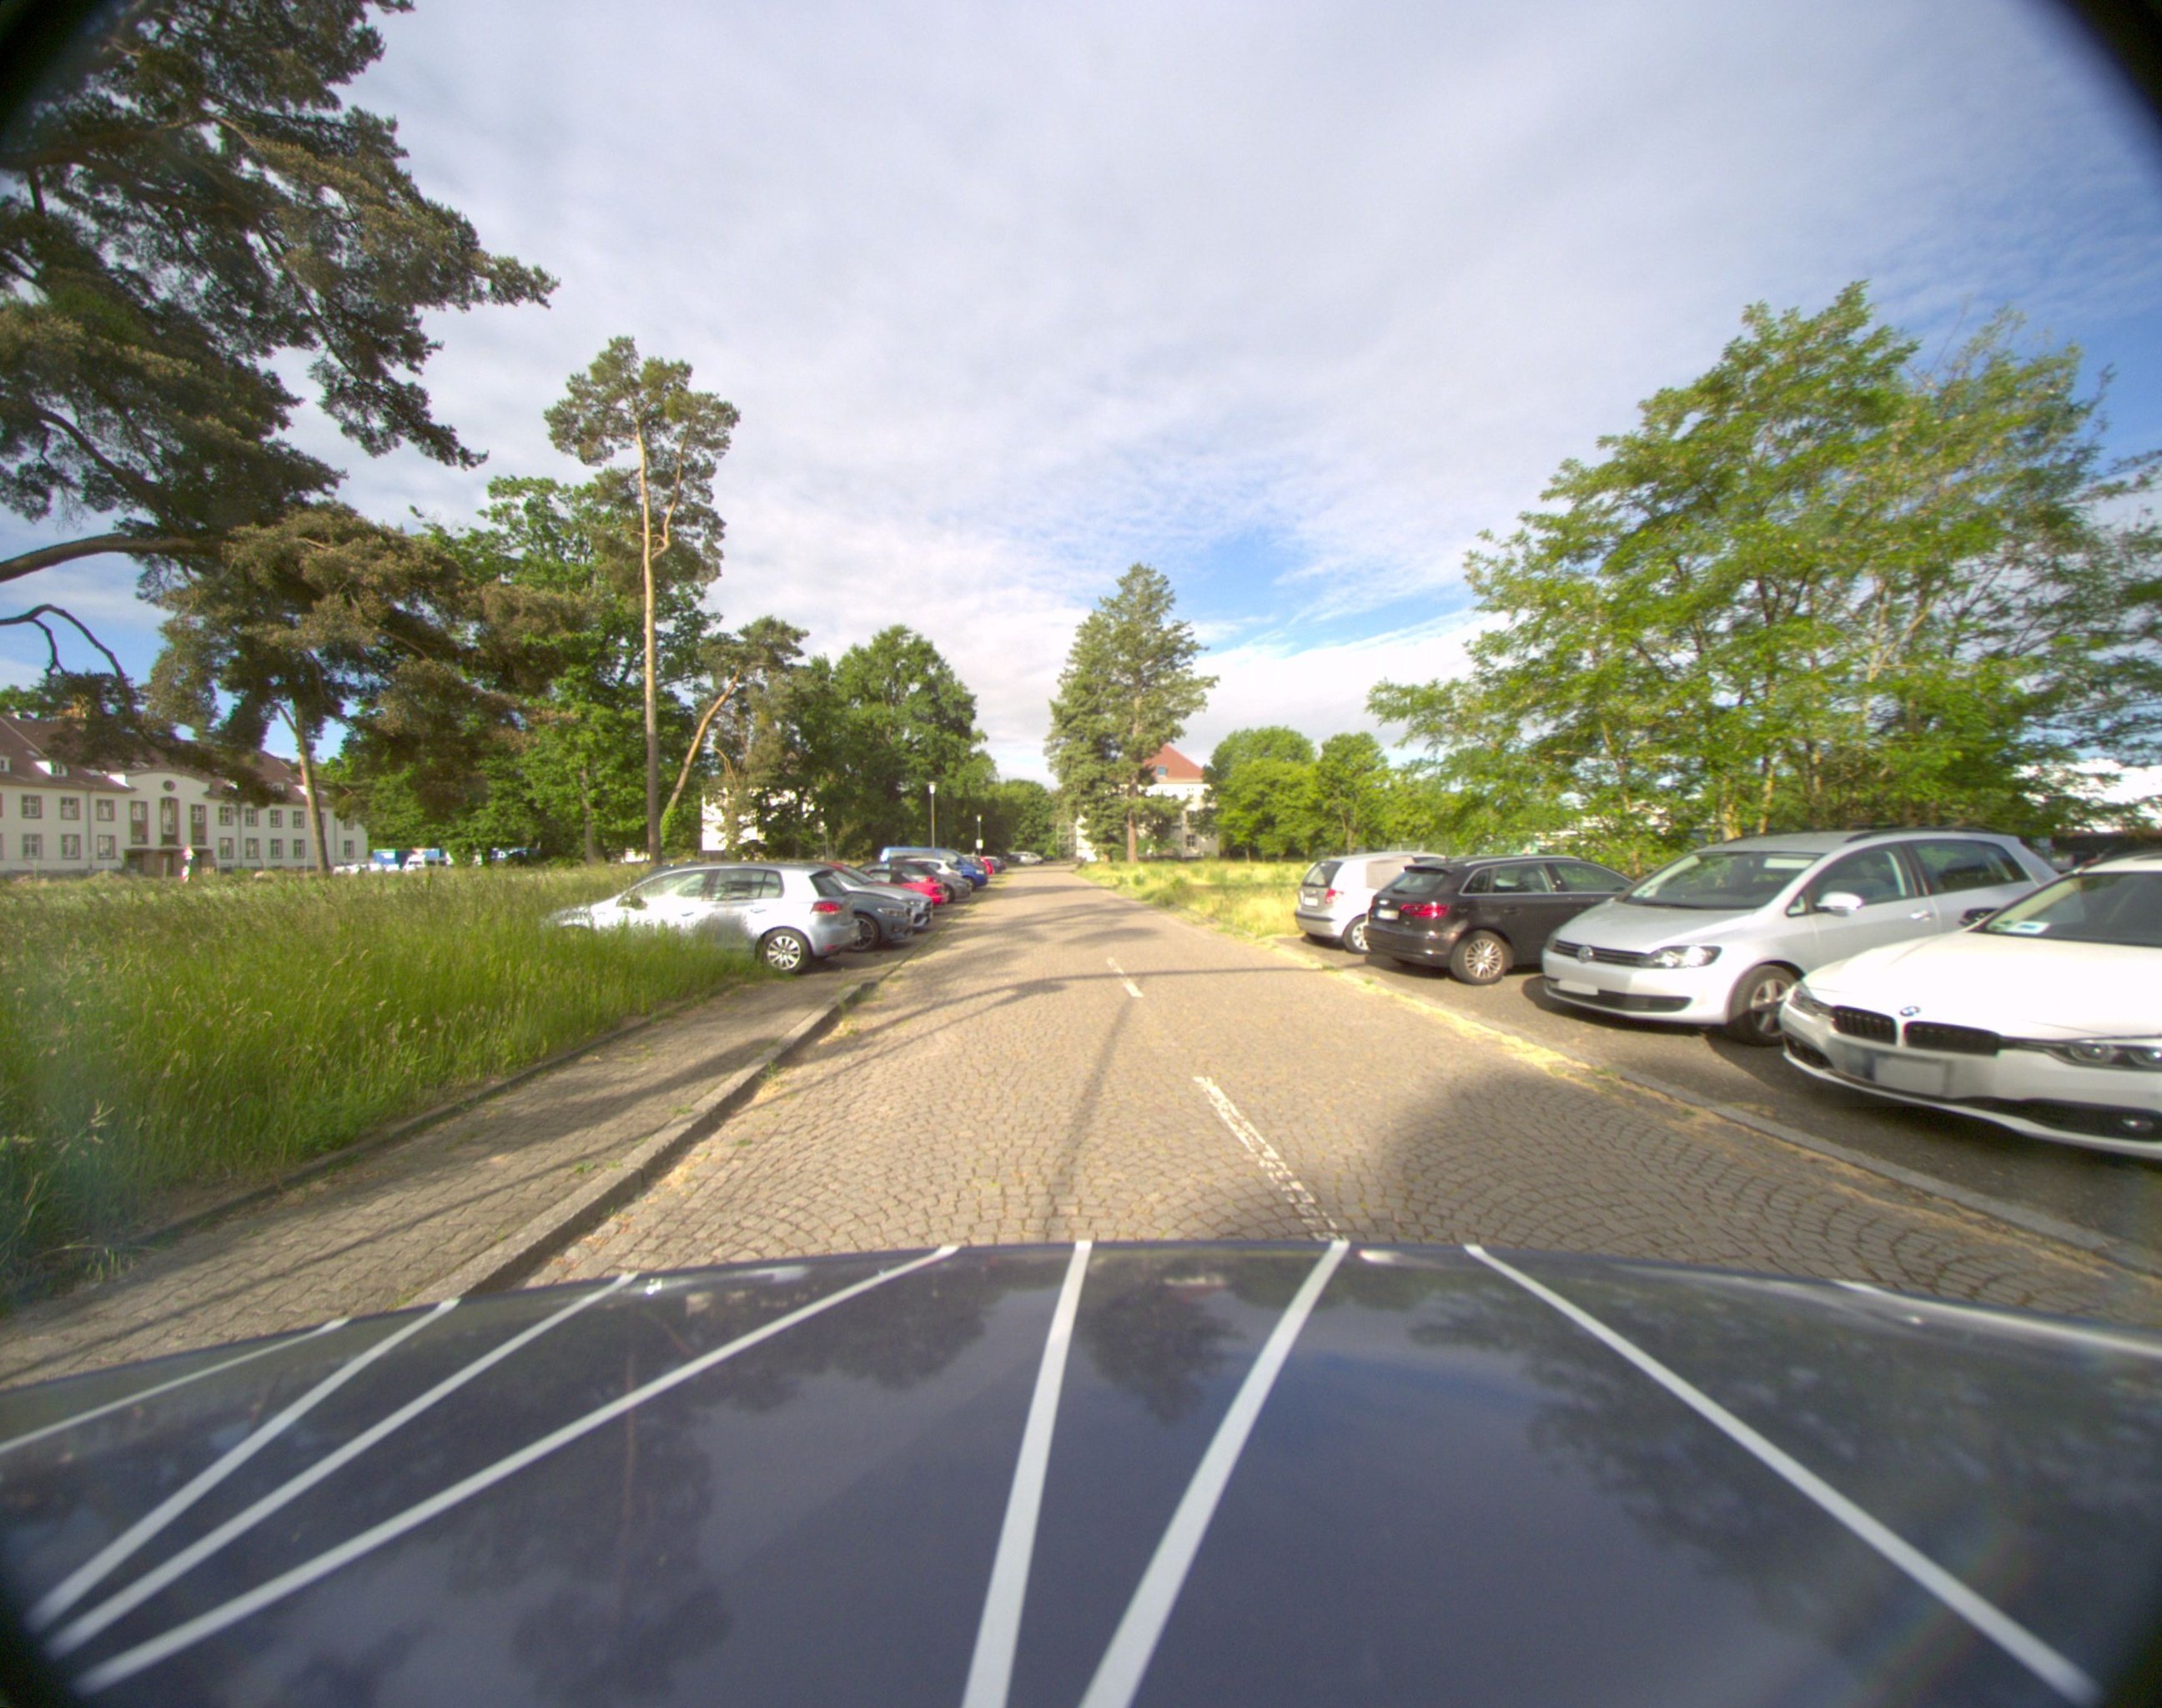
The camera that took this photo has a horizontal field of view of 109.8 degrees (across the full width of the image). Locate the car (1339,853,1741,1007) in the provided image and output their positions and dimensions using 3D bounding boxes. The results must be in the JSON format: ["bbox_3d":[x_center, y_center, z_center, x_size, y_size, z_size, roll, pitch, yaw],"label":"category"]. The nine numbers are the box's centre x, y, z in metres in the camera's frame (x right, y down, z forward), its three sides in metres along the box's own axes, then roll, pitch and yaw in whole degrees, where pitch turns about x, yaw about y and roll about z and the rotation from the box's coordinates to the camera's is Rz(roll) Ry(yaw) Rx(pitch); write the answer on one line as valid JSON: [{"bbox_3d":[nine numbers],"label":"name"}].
[{"bbox_3d":[5.458,0.826,9.355,3.840,1.421,1.858,-4,1,-5],"label":"car"}]

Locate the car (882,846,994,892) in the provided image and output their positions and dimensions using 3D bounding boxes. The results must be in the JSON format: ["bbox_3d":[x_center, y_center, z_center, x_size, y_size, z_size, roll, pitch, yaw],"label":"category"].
[{"bbox_3d":[-6.349,0.662,34.180,4.747,1.917,1.991,1,1,-5],"label":"car"}]

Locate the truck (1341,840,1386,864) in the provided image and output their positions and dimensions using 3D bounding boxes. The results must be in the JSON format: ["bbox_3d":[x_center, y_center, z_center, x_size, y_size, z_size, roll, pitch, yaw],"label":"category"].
[{"bbox_3d":[32.329,-0.189,87.167,2.418,2.572,6.957,-1,0,-1],"label":"truck"}]

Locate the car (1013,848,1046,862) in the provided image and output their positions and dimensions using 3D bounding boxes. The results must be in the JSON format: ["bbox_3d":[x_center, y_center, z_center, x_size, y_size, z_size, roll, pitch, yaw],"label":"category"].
[{"bbox_3d":[-7.988,0.153,117.299,5.080,2.029,1.999,-1,0,-4],"label":"car"}]

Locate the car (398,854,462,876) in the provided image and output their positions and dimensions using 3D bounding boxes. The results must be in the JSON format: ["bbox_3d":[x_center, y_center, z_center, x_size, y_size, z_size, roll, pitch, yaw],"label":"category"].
[{"bbox_3d":[-73.576,1.214,86.026,2.167,2.286,5.960,-1,0,-1],"label":"car"}]

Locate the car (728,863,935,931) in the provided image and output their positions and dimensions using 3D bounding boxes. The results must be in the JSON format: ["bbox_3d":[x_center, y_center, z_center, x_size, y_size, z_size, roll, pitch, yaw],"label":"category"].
[{"bbox_3d":[-5.783,0.973,18.043,4.353,1.465,1.739,0,1,-4],"label":"car"}]

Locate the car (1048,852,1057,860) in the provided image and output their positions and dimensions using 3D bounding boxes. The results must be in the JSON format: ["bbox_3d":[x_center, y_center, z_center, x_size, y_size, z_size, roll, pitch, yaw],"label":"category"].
[{"bbox_3d":[-6.982,0.557,183.826,1.999,1.762,4.107,-1,1,-4],"label":"car"}]

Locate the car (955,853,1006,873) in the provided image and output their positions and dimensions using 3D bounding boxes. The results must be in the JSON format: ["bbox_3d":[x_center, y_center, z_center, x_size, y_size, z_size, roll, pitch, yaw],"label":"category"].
[{"bbox_3d":[-8.384,0.732,63.517,4.137,1.560,1.745,0,1,-4],"label":"car"}]

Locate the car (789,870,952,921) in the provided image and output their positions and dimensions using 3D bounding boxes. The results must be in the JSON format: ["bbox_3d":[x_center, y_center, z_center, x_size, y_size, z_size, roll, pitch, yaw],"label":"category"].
[{"bbox_3d":[-5.555,1.084,20.443,3.962,1.254,1.725,0,1,-4],"label":"car"}]

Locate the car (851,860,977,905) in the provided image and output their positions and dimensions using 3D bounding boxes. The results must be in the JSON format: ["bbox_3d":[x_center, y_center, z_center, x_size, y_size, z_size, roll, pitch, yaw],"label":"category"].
[{"bbox_3d":[-5.641,0.943,26.008,3.962,1.459,1.830,0,1,-4],"label":"car"}]

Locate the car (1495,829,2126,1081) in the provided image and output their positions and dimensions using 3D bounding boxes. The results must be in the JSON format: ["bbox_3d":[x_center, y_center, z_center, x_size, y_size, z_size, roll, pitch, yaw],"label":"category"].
[{"bbox_3d":[6.193,0.715,6.704,4.134,1.591,1.857,-4,1,-8],"label":"car"}]

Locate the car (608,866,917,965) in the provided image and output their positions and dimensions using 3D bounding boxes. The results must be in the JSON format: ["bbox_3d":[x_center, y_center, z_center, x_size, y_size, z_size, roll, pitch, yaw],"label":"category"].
[{"bbox_3d":[-5.204,0.975,13.023,4.521,1.465,1.893,0,1,-8],"label":"car"}]

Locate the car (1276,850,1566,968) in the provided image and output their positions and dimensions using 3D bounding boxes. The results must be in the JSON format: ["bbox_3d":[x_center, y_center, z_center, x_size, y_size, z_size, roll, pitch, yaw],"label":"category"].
[{"bbox_3d":[5.235,0.787,12.000,3.694,1.465,1.848,-4,1,-6],"label":"car"}]

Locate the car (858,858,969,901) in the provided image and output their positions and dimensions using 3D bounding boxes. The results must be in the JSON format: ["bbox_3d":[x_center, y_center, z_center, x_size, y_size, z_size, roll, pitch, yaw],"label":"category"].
[{"bbox_3d":[-6.284,0.930,28.826,3.885,1.521,1.807,0,1,-4],"label":"car"}]

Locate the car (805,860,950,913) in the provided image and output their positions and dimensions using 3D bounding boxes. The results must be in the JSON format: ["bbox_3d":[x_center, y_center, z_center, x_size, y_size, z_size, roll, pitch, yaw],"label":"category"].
[{"bbox_3d":[-6.079,0.946,23.048,3.962,1.487,1.771,0,1,-4],"label":"car"}]

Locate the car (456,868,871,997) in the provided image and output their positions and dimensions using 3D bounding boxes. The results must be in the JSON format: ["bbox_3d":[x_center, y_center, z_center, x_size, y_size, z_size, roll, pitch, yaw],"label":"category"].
[{"bbox_3d":[-5.373,0.973,10.381,4.558,1.497,1.932,0,1,-6],"label":"car"}]

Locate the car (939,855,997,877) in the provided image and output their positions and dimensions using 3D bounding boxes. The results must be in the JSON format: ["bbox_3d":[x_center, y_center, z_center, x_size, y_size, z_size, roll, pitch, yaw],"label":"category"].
[{"bbox_3d":[-7.899,0.818,53.245,3.888,1.464,1.686,0,1,-5],"label":"car"}]

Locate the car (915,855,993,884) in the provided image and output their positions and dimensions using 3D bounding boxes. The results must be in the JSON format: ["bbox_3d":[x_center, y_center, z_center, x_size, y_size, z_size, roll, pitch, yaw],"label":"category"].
[{"bbox_3d":[-7.131,0.846,43.016,4.203,1.580,1.877,0,1,-5],"label":"car"}]

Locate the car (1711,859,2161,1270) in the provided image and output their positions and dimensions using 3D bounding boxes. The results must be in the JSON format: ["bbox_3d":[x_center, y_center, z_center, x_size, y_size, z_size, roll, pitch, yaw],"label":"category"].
[{"bbox_3d":[6.462,0.813,4.177,4.601,1.447,1.902,-4,0,-6],"label":"car"}]

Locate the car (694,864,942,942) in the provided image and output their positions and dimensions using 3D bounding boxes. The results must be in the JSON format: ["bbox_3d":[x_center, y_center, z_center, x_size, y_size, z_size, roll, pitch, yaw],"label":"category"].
[{"bbox_3d":[-5.287,0.964,15.802,4.520,1.465,1.848,0,1,-4],"label":"car"}]

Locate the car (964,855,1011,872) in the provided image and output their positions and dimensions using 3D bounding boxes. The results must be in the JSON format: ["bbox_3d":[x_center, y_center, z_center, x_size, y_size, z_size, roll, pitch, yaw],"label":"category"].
[{"bbox_3d":[-8.406,0.819,68.224,4.037,1.442,1.782,0,1,-2],"label":"car"}]
